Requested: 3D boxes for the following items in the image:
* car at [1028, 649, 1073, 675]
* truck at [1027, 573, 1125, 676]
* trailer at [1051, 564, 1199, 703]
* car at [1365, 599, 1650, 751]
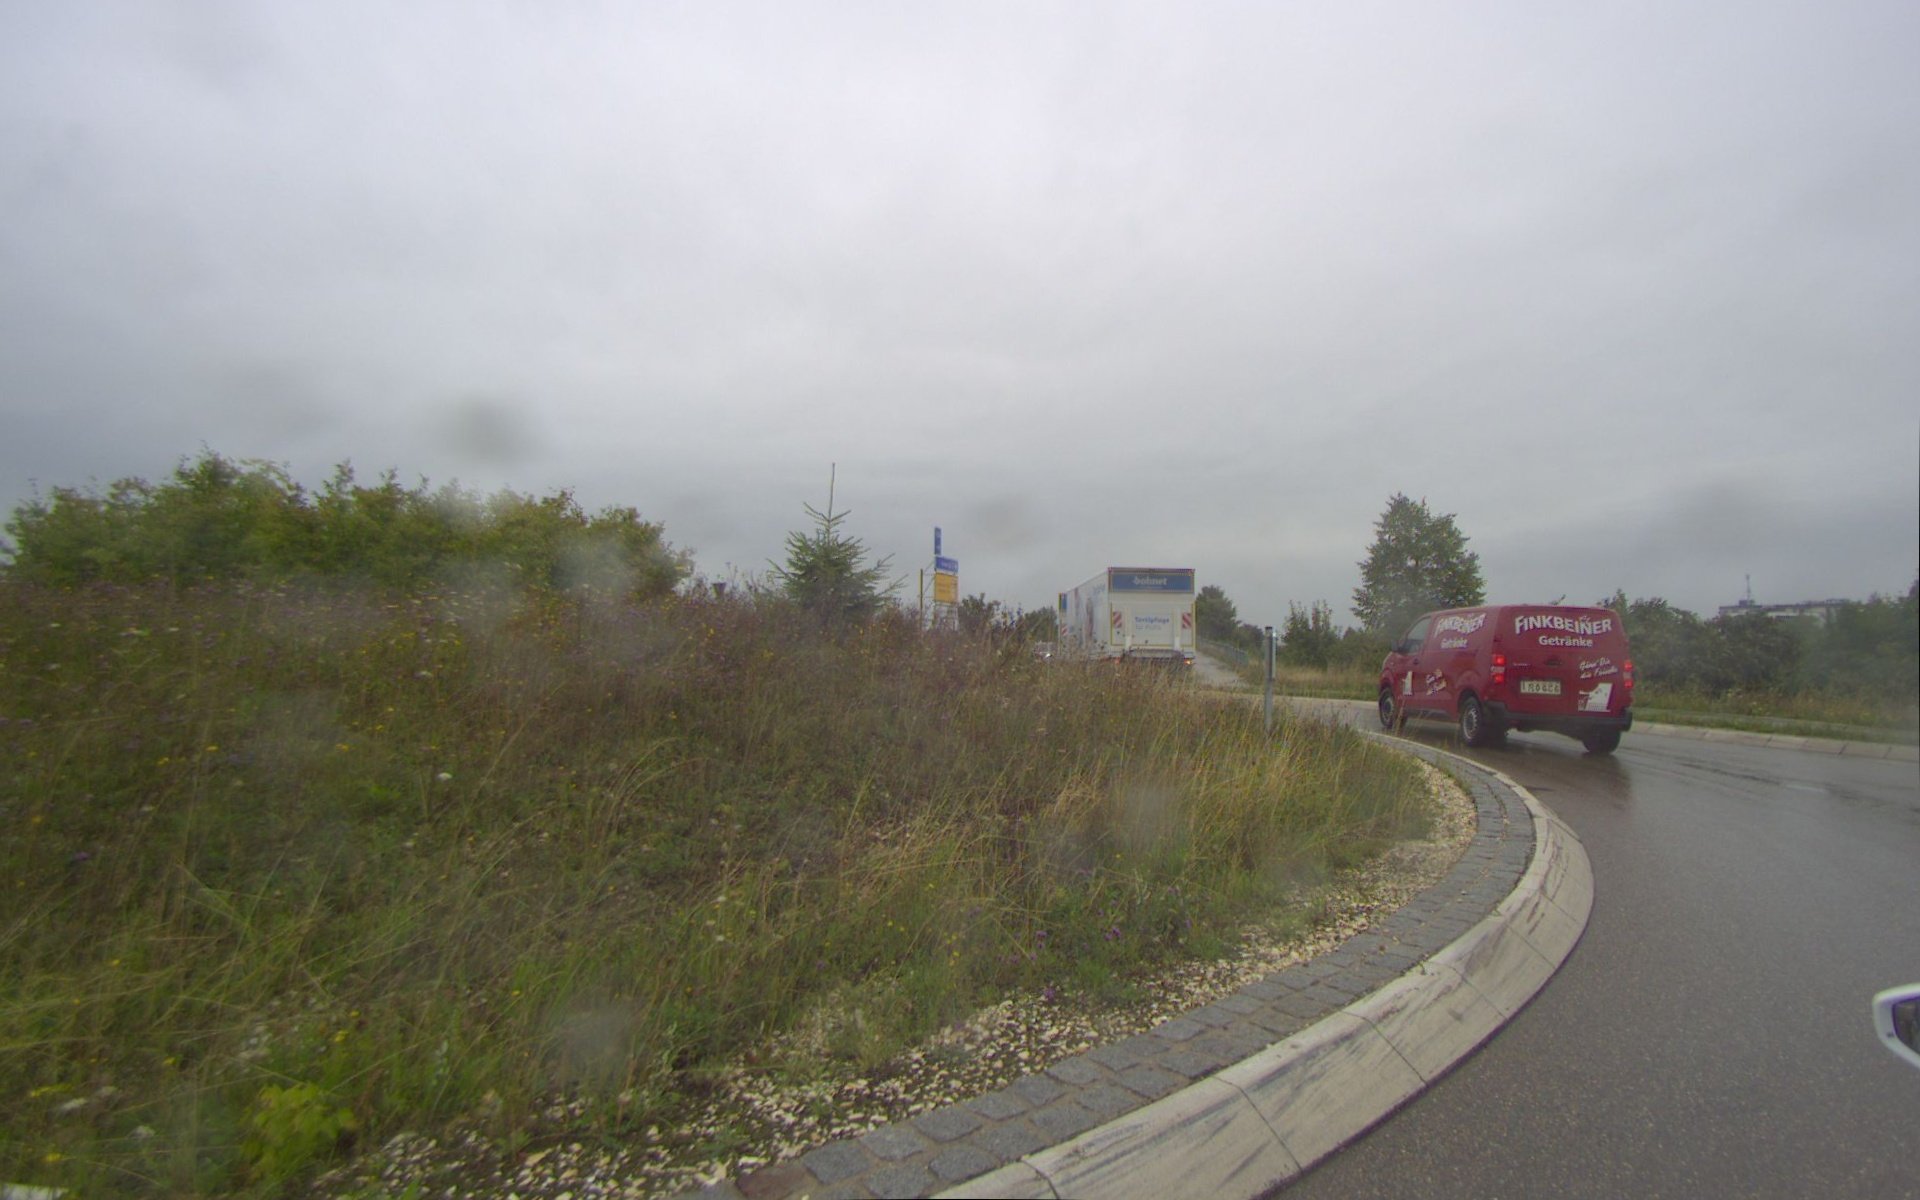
[{"bbox_3d":[6.049,4.085,66.612,1.772,1.595,3.999,0,-3,23],"label":"car"},{"bbox_3d":[4.630,1.053,41.578,2.754,3.869,7.687,0,-2,-3],"label":"truck"},{"bbox_3d":[5.052,1.107,32.871,2.786,3.869,9.712,0,-2,-3],"label":"trailer"},{"bbox_3d":[7.869,1.009,15.112,1.960,1.895,4.982,0,-1,6],"label":"car"}]
